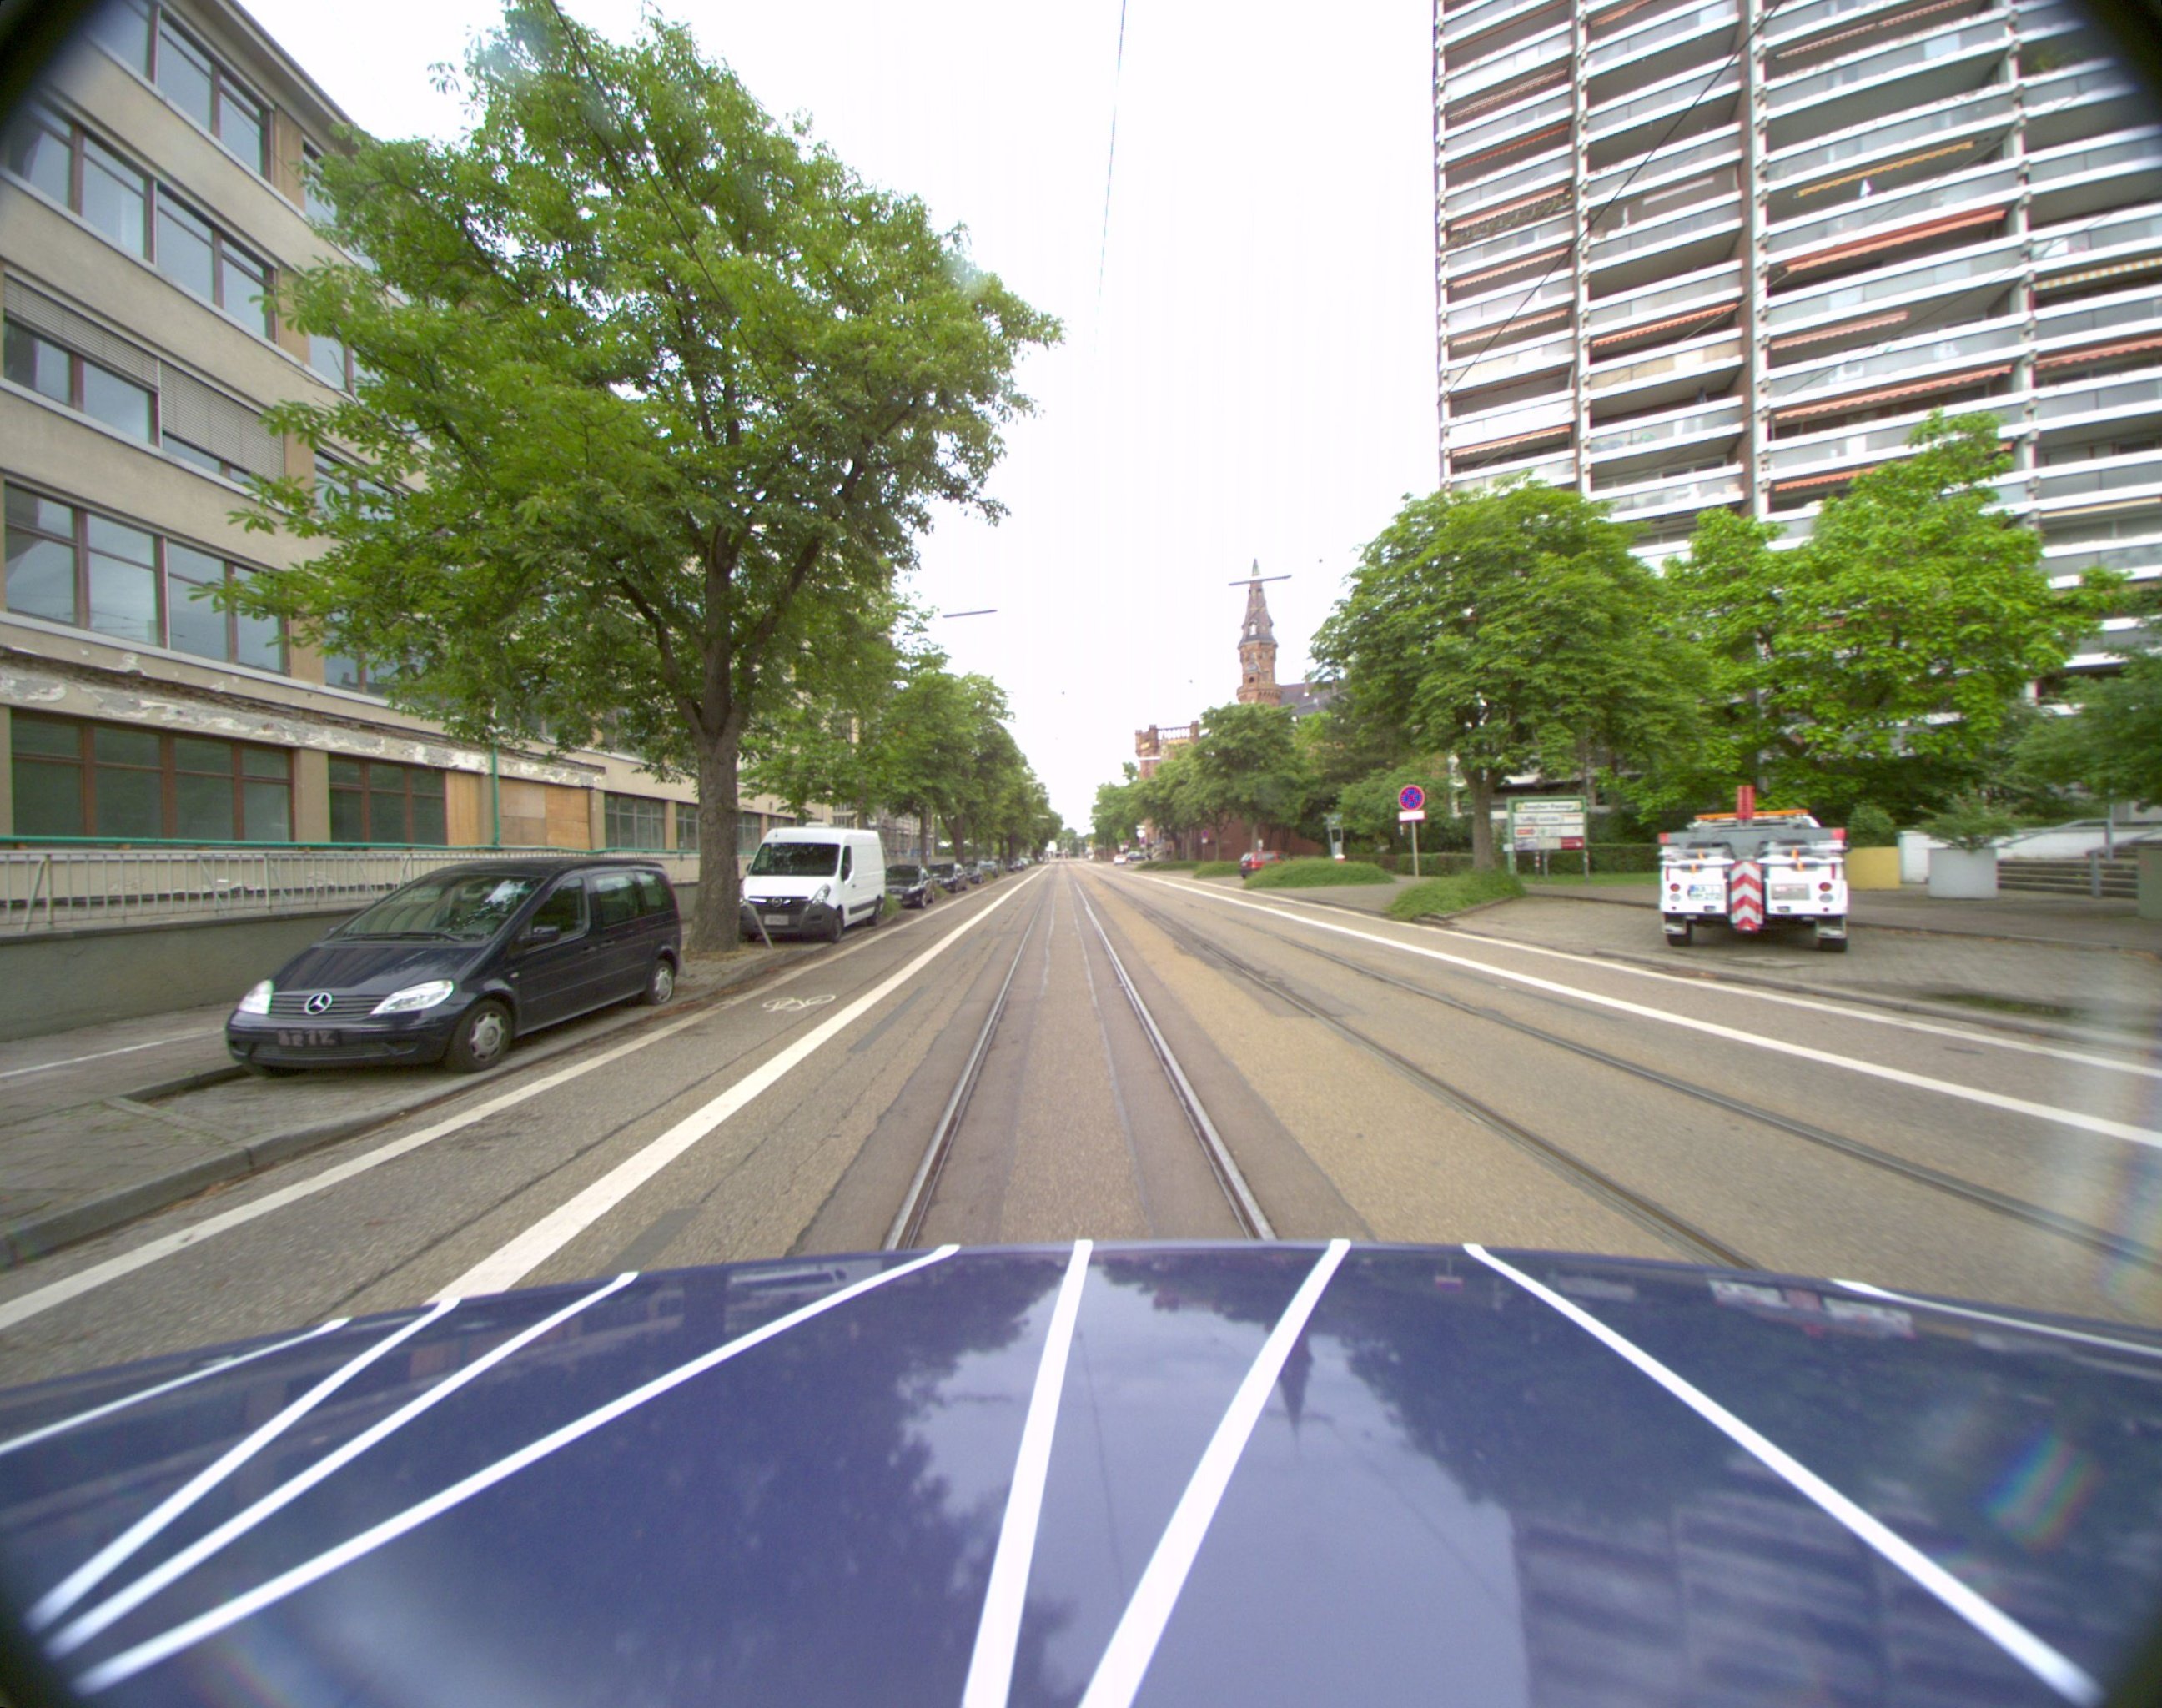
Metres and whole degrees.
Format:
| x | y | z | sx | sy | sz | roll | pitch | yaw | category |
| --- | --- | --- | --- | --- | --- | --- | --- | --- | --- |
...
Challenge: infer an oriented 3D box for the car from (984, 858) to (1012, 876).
| x | y | z | sx | sy | sz | roll | pitch | yaw | category |
| --- | --- | --- | --- | --- | --- | --- | --- | --- | --- |
| -7.120 | 1.102 | 65.414 | 1.999 | 1.452 | 4.392 | -2 | 0 | -2 | car |

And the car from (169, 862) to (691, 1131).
| x | y | z | sx | sy | sz | roll | pitch | yaw | category |
| --- | --- | --- | --- | --- | --- | --- | --- | --- | --- |
| -5.761 | 1.055 | 7.559 | 1.658 | 1.802 | 4.083 | -2 | 1 | -2 | car |

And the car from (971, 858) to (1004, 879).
| x | y | z | sx | sy | sz | roll | pitch | yaw | category |
| --- | --- | --- | --- | --- | --- | --- | --- | --- | --- |
| -7.031 | 1.059 | 57.365 | 1.999 | 1.452 | 4.392 | -2 | 0 | -2 | car |

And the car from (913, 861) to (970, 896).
| x | y | z | sx | sy | sz | roll | pitch | yaw | category |
| --- | --- | --- | --- | --- | --- | --- | --- | --- | --- |
| -6.603 | 1.108 | 36.514 | 1.999 | 1.452 | 4.392 | -2 | 0 | -2 | car |

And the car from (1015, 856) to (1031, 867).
| x | y | z | sx | sy | sz | roll | pitch | yaw | category |
| --- | --- | --- | --- | --- | --- | --- | --- | --- | --- |
| -8.003 | 1.042 | 105.732 | 1.999 | 1.452 | 4.392 | -2 | 0 | -2 | car |

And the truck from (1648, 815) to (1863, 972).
| x | y | z | sx | sy | sz | roll | pitch | yaw | category |
| --- | --- | --- | --- | --- | --- | --- | --- | --- | --- |
| 10.150 | 0.414 | 11.361 | 1.994 | 1.838 | 5.074 | -2 | 0 | 44 | truck |

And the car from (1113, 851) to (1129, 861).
| x | y | z | sx | sy | sz | roll | pitch | yaw | category |
| --- | --- | --- | --- | --- | --- | --- | --- | --- | --- |
| 5.907 | 0.293 | 112.705 | 1.999 | 1.521 | 3.999 | -1 | 0 | -2 | car |

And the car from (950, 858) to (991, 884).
| x | y | z | sx | sy | sz | roll | pitch | yaw | category |
| --- | --- | --- | --- | --- | --- | --- | --- | --- | --- |
| -6.910 | 1.057 | 47.951 | 1.999 | 1.452 | 4.392 | -2 | 0 | -2 | car |

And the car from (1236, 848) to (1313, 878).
| x | y | z | sx | sy | sz | roll | pitch | yaw | category |
| --- | --- | --- | --- | --- | --- | --- | --- | --- | --- |
| 10.017 | 0.436 | 39.460 | 3.505 | 1.369 | 1.632 | -2 | 2 | -15 | car |

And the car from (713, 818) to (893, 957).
| x | y | z | sx | sy | sz | roll | pitch | yaw | category |
| --- | --- | --- | --- | --- | --- | --- | --- | --- | --- |
| -6.027 | 0.632 | 17.360 | 2.118 | 2.587 | 5.490 | -2 | 0 | -2 | car |

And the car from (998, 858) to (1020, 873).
| x | y | z | sx | sy | sz | roll | pitch | yaw | category |
| --- | --- | --- | --- | --- | --- | --- | --- | --- | --- |
| -7.545 | 1.149 | 80.255 | 1.999 | 1.452 | 4.392 | -2 | 0 | -2 | car |

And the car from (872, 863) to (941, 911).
| x | y | z | sx | sy | sz | roll | pitch | yaw | category |
| --- | --- | --- | --- | --- | --- | --- | --- | --- | --- |
| -6.076 | 1.106 | 26.848 | 1.826 | 1.491 | 4.104 | 0 | 1 | -5 | car |

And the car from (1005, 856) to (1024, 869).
| x | y | z | sx | sy | sz | roll | pitch | yaw | category |
| --- | --- | --- | --- | --- | --- | --- | --- | --- | --- |
| -7.984 | 0.995 | 91.931 | 1.999 | 1.452 | 4.392 | -2 | 0 | -2 | car |

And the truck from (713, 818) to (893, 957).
| x | y | z | sx | sy | sz | roll | pitch | yaw | category |
| --- | --- | --- | --- | --- | --- | --- | --- | --- | --- |
| -6.028 | 0.632 | 17.366 | 2.118 | 2.587 | 5.490 | -2 | 0 | -2 | truck |
